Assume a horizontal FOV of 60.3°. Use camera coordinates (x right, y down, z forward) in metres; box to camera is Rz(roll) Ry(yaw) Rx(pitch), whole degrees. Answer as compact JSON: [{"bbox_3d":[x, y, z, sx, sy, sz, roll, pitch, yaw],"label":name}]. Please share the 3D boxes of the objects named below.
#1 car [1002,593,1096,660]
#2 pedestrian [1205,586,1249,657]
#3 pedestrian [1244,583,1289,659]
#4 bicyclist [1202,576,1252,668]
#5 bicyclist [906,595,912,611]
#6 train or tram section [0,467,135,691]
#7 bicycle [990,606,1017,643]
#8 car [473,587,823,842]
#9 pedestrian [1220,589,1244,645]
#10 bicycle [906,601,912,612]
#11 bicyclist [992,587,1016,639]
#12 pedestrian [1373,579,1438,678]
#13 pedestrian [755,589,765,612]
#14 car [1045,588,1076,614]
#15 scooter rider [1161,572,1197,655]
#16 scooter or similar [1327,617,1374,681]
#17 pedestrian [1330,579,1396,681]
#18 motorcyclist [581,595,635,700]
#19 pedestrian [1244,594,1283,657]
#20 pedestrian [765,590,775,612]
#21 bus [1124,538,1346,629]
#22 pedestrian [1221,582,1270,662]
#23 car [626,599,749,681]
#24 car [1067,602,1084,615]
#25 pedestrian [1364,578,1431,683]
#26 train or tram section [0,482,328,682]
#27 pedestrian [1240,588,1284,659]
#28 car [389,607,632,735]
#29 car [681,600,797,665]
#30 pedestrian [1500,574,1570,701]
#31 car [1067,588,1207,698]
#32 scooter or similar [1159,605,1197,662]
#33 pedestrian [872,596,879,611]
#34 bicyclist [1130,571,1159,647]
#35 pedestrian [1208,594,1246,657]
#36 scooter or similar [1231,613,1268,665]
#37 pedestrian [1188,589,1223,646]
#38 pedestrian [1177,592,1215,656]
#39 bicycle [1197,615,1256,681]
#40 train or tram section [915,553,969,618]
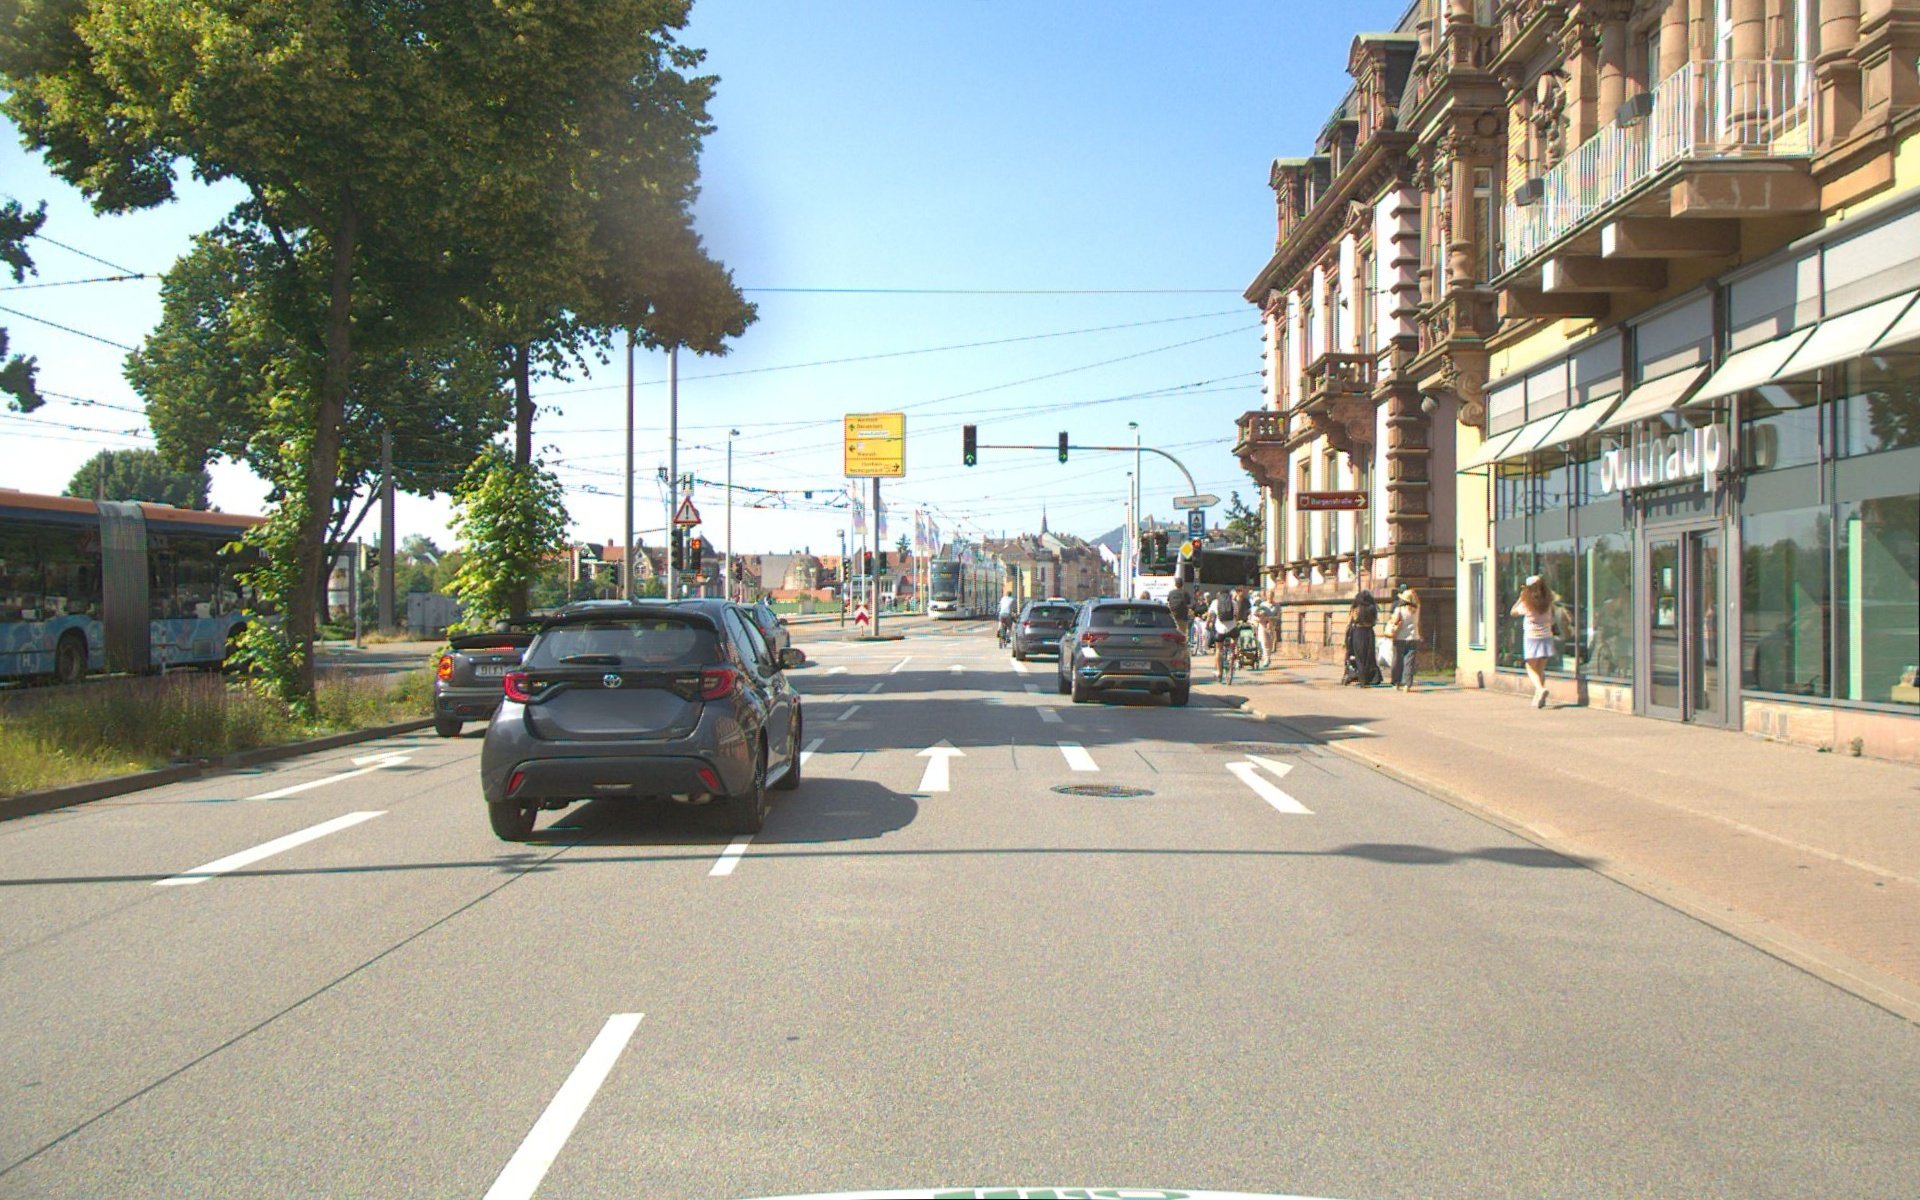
[{"bbox_3d":[2.187,0.668,41.722,1.953,1.519,3.998,2,-1,-2],"label":"car"},{"bbox_3d":[6.493,0.533,40.242,0.845,1.669,0.875,2,-1,-1],"label":"pedestrian"},{"bbox_3d":[6.844,0.464,36.991,0.845,1.669,0.875,0,0,-1],"label":"pedestrian"},{"bbox_3d":[4.784,0.394,29.719,0.674,1.604,1.049,2,-1,0],"label":"bicyclist"},{"bbox_3d":[-5.219,0.313,168.514,0.546,1.563,0.743,2,-1,-1],"label":"bicyclist"},{"bbox_3d":[-17.007,-0.404,25.854,2.764,3.643,10.034,2,0,2],"label":"train or tram section"},{"bbox_3d":[1.368,0.784,52.359,0.719,1.112,1.897,2,-1,-1],"label":"bicycle"},{"bbox_3d":[-2.032,0.715,11.868,1.741,1.501,3.999,-1,-1,0],"label":"car"},{"bbox_3d":[8.234,0.528,50.106,0.564,1.669,0.611,2,-1,-1],"label":"pedestrian"},{"bbox_3d":[-5.243,0.677,168.489,0.546,1.144,1.222,2,-1,-1],"label":"bicycle"},{"bbox_3d":[1.384,0.419,52.218,0.674,1.604,1.049,2,-1,-1],"label":"bicyclist"},{"bbox_3d":[7.805,0.498,28.996,0.845,1.669,0.875,2,-1,-1],"label":"pedestrian"},{"bbox_3d":[-13.124,0.049,108.415,0.546,1.440,0.636,2,-1,-1],"label":"pedestrian"},{"bbox_3d":[6.396,0.100,105.908,1.820,1.533,4.000,2,-1,2],"label":"car"},{"bbox_3d":[4.778,0.299,36.131,0.674,1.759,0.778,2,-1,4],"label":"scooter rider"},{"bbox_3d":[6.769,0.841,28.681,0.588,1.066,0.799,2,-1,-1],"label":"scooter or similar"},{"bbox_3d":[6.814,0.507,27.998,0.845,1.669,0.875,2,-1,-1],"label":"pedestrian"},{"bbox_3d":[-5.395,0.731,25.394,0.675,1.583,0.717,-1,-2,-2],"label":"motorcyclist"},{"bbox_3d":[8.307,0.708,45.355,0.845,1.669,0.875,2,-1,-1],"label":"pedestrian"},{"bbox_3d":[-12.471,0.078,108.414,0.546,1.440,0.636,2,-1,-1],"label":"pedestrian"},{"bbox_3d":[10.204,-0.539,60.826,8.546,2.825,2.941,3,-1,-37],"label":"bus"},{"bbox_3d":[6.185,0.477,35.867,0.845,1.669,0.875,2,-1,-1],"label":"pedestrian"},{"bbox_3d":[-4.891,0.710,30.122,1.421,1.323,4.000,2,-1,2],"label":"car"},{"bbox_3d":[13.941,1.040,200.477,1.820,1.533,4.000,2,-1,2],"label":"car"},{"bbox_3d":[7.042,0.482,26.664,0.845,1.669,0.875,0,0,-1],"label":"pedestrian"},{"bbox_3d":[-16.646,-0.314,35.001,2.763,3.643,8.229,2,0,4],"label":"train or tram section"},{"bbox_3d":[7.370,0.575,40.383,0.845,1.669,0.875,2,-1,-1],"label":"pedestrian"},{"bbox_3d":[-5.450,0.829,20.589,1.778,1.355,4.000,2,-1,2],"label":"car"},{"bbox_3d":[-5.049,0.746,38.325,1.995,1.355,4.000,2,-1,2],"label":"car"},{"bbox_3d":[7.596,0.481,21.876,0.641,1.649,0.815,0,0,-1],"label":"pedestrian"},{"bbox_3d":[2.693,0.655,25.959,1.835,1.519,4.000,2,-1,2],"label":"car"},{"bbox_3d":[4.743,0.737,36.084,0.674,1.188,1.464,2,-1,4],"label":"scooter or similar"},{"bbox_3d":[-7.922,0.343,155.174,0.546,1.440,0.636,2,-1,-1],"label":"pedestrian"},{"bbox_3d":[4.924,0.247,44.235,0.674,1.996,0.778,2,-1,4],"label":"bicyclist"},{"bbox_3d":[7.277,0.687,45.122,0.845,1.669,0.875,2,-1,-1],"label":"pedestrian"},{"bbox_3d":[6.153,0.827,35.162,0.588,1.066,0.799,2,-1,-1],"label":"scooter or similar"},{"bbox_3d":[7.390,0.523,49.780,0.845,1.669,0.875,2,-1,-1],"label":"pedestrian"},{"bbox_3d":[6.378,0.641,44.739,0.845,1.669,0.875,2,-1,-1],"label":"pedestrian"},{"bbox_3d":[4.762,0.841,29.665,0.719,1.112,1.897,2,-1,0],"label":"bicycle"},{"bbox_3d":[-1.075,-0.847,105.415,2.764,3.843,8.228,2,0,3],"label":"train or tram section"}]
